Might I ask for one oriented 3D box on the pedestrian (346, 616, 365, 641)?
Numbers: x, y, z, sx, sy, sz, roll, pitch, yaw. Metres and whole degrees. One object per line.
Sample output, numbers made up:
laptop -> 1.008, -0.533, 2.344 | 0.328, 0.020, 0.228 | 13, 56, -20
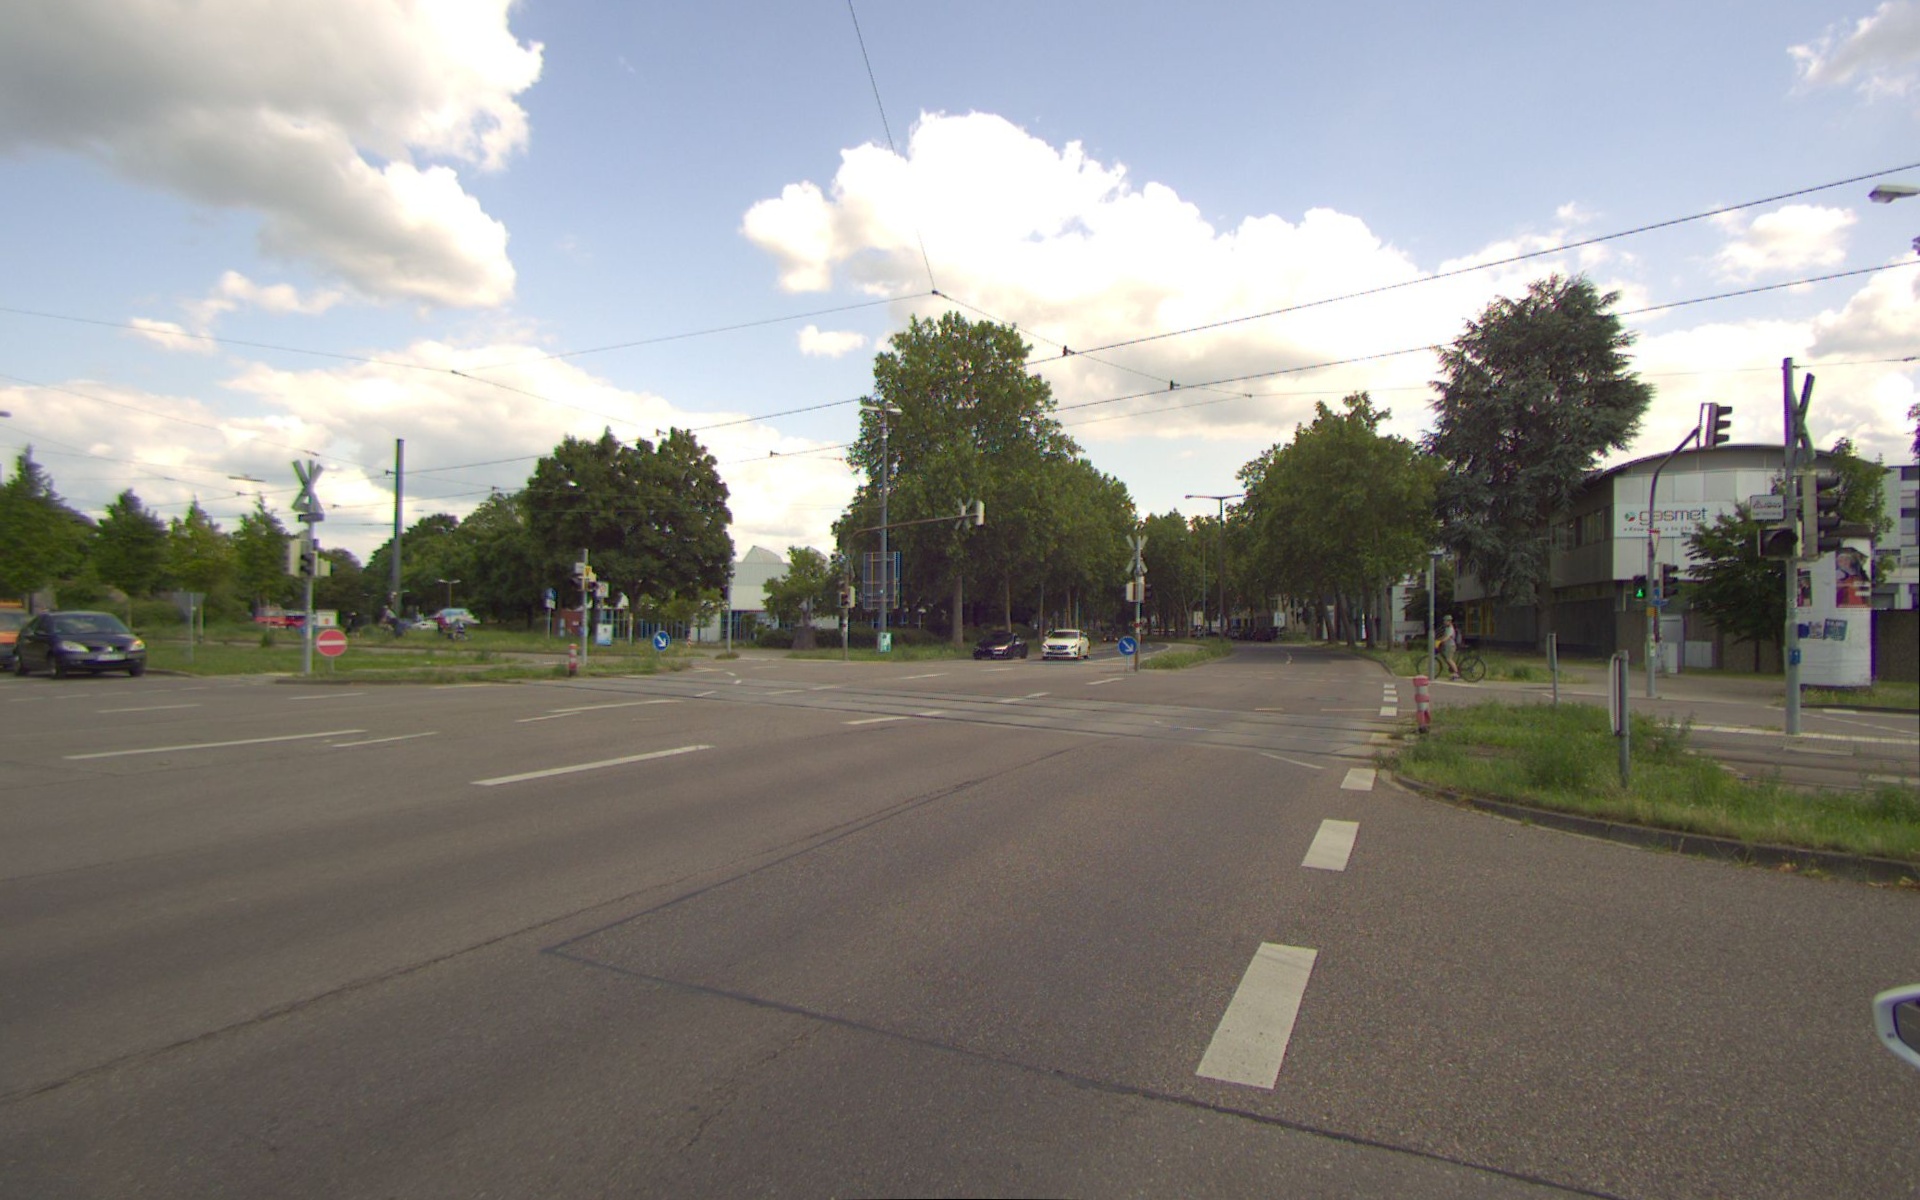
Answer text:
pedestrian -> -34.377, 1.608, 57.102 | 0.738, 1.372, 0.650 | 0, 1, 27

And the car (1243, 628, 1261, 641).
car -> 42.427, 5.009, 146.069 | 1.959, 1.595, 4.002 | 0, 0, 10

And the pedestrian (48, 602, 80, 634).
pedestrian -> -58.170, 1.159, 65.200 | 1.154, 2.040, 1.106 | 0, -1, 20

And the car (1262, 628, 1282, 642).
car -> 39.516, 4.445, 127.336 | 1.959, 1.595, 4.002 | 0, 0, 10

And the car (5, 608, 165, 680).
car -> -21.698, 1.048, 24.888 | 3.979, 1.652, 1.733 | 0, -1, 29

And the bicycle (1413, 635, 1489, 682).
bicycle -> 13.965, 1.645, 28.573 | 1.918, 1.252, 0.540 | 0, 1, 31

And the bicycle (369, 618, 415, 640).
bicycle -> -30.866, 1.563, 54.634 | 1.945, 1.169, 0.952 | 1, -1, -1

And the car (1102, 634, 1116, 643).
car -> 20.161, 5.169, 135.650 | 1.607, 1.207, 3.710 | 1, -1, 4

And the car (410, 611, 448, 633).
car -> -41.971, 1.718, 79.407 | 1.982, 1.661, 4.344 | 2, -2, -37

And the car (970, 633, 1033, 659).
car -> 2.064, 2.203, 48.656 | 1.610, 1.207, 3.703 | 0, -2, 28

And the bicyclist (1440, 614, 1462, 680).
bicyclist -> 13.960, 1.332, 28.568 | 0.535, 1.834, 0.540 | 0, 1, 30

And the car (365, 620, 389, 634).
car -> -71.137, 3.324, 122.532 | 1.982, 1.661, 4.344 | 2, -2, -37

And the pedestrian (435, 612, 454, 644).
pedestrian -> -26.879, 1.454, 52.397 | 0.625, 1.666, 0.613 | 0, 1, 13

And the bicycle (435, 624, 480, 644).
bicycle -> -26.986, 1.818, 53.931 | 1.944, 1.054, 0.952 | 1, -1, 8

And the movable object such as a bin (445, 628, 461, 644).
movable object such as a bin -> -26.384, 1.867, 52.286 | 0.450, 0.822, 0.579 | 0, 1, 13

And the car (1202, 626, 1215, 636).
car -> 43.491, 5.467, 175.785 | 1.959, 1.595, 4.002 | 0, 0, 10

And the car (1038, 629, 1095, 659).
car -> 5.163, 2.082, 48.204 | 1.795, 1.382, 4.138 | 0, -1, 19

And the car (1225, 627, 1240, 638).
car -> 43.957, 5.219, 161.869 | 1.959, 1.595, 4.002 | 0, 0, 10

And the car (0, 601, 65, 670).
car -> -26.929, 0.953, 27.811 | 4.291, 1.823, 1.881 | 0, -1, 29

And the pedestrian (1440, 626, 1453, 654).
pedestrian -> 27.999, 2.290, 57.856 | 0.610, 1.590, 0.559 | 0, 1, 21

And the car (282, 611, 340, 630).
car -> -54.275, 1.747, 84.007 | 3.963, 1.550, 1.979 | 2, -2, -37

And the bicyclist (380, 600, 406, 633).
bicyclist -> -30.847, 0.915, 54.652 | 0.819, 1.745, 0.963 | 1, -1, -1

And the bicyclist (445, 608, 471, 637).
bicyclist -> -26.975, 1.209, 53.945 | 0.819, 1.509, 0.964 | 1, -1, 9

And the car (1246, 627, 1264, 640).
car -> 39.859, 4.490, 135.796 | 1.959, 1.595, 4.002 | 0, 0, 10

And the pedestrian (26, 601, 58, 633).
pedestrian -> -58.555, 1.101, 64.083 | 1.154, 2.040, 1.106 | 0, -1, 22

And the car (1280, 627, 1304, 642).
car -> 38.153, 3.944, 115.528 | 1.959, 1.595, 4.002 | 0, 0, 10
